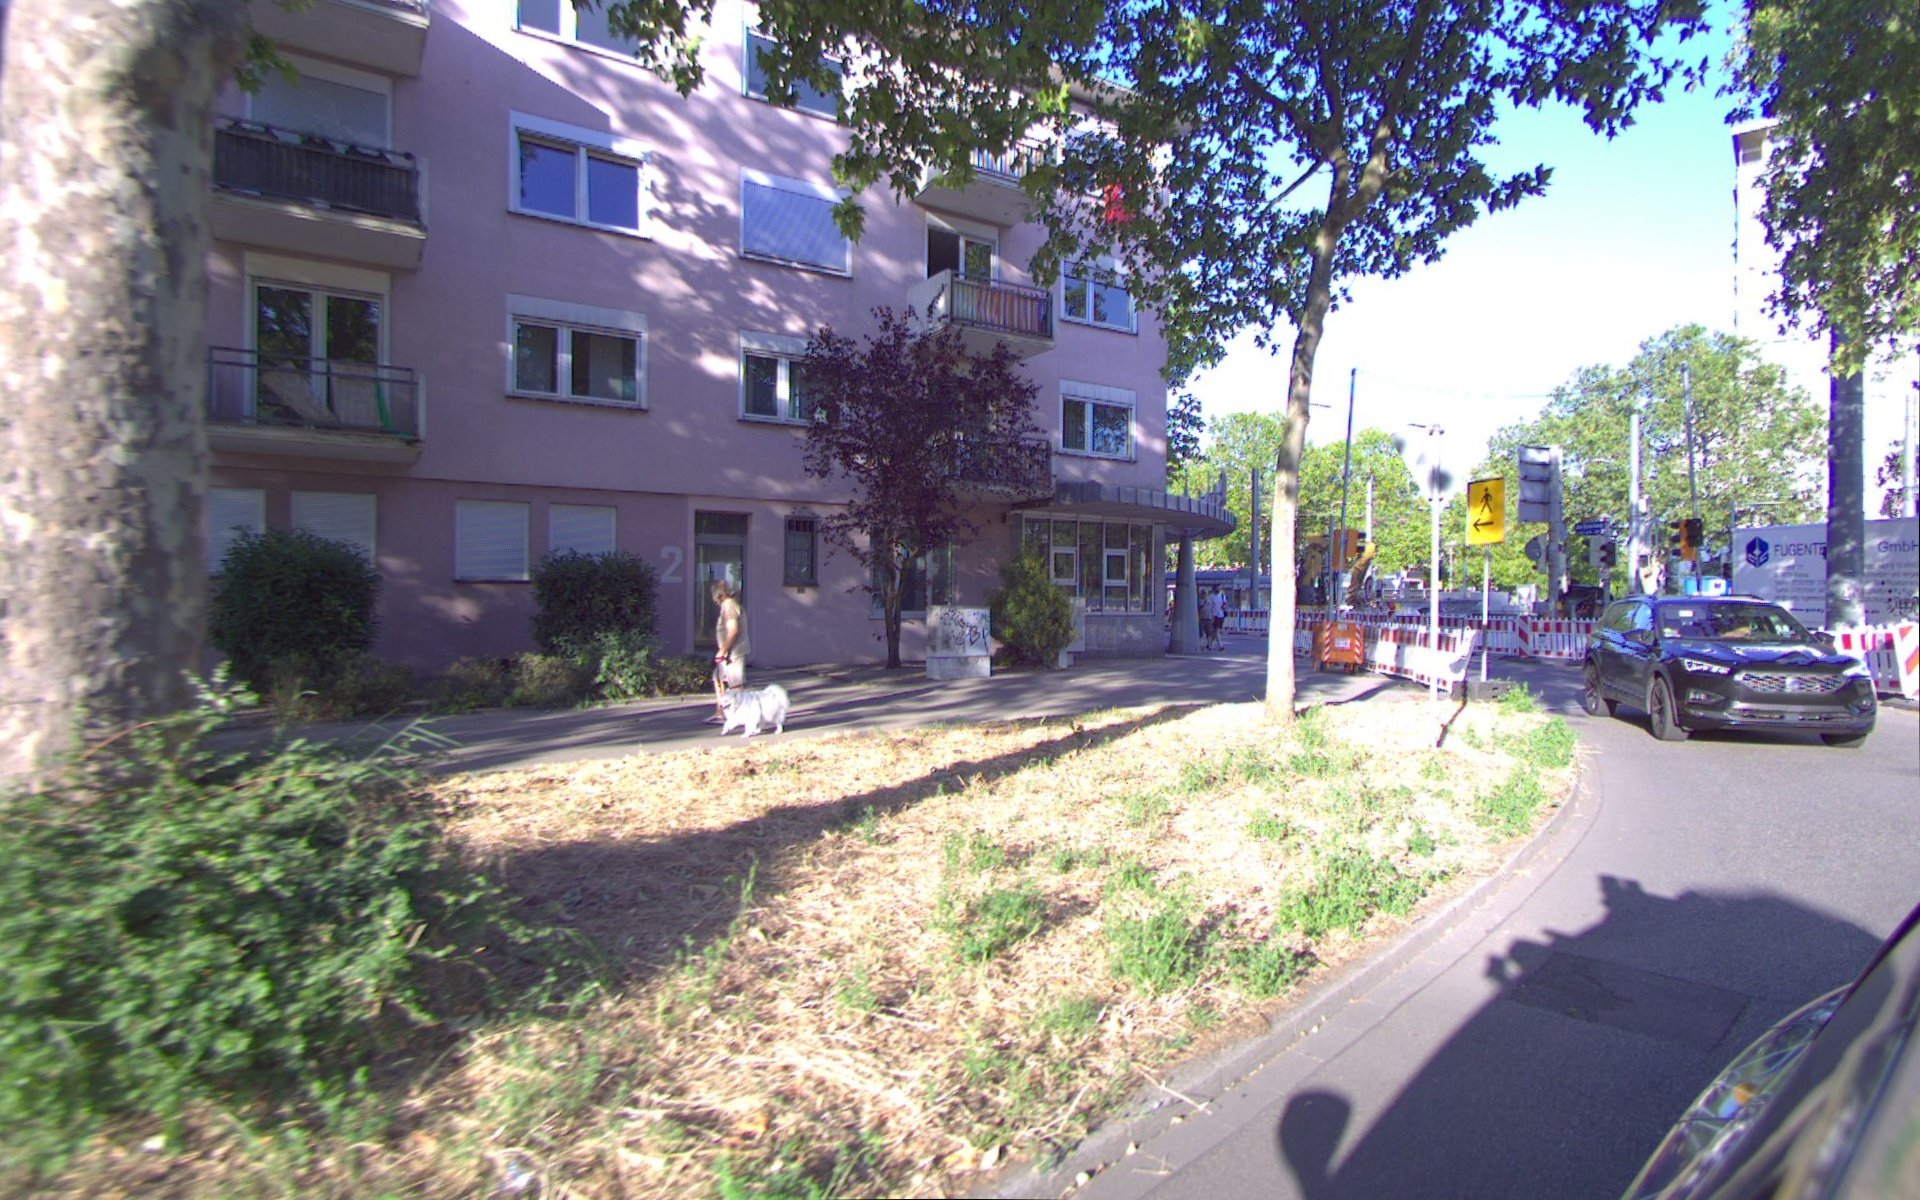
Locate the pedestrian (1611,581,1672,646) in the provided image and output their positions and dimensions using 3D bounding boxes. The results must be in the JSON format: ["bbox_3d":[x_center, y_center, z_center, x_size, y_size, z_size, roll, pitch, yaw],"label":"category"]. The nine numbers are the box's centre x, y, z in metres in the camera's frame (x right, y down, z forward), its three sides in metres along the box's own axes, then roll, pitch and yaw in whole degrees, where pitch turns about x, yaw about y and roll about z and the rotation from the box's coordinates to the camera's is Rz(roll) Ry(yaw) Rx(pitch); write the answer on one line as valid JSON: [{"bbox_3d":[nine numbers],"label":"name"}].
[{"bbox_3d":[19.551,0.370,29.056,0.955,1.821,1.071,0,0,-10],"label":"pedestrian"}]

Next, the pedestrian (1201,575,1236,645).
[{"bbox_3d":[7.363,0.271,28.886,0.828,1.893,1.095,4,0,14],"label":"pedestrian"}]

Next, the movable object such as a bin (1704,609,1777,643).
[{"bbox_3d":[22.585,0.739,29.303,0.916,0.928,1.422,0,0,-25],"label":"movable object such as a bin"}]

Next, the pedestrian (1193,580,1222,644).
[{"bbox_3d":[6.817,0.327,27.844,0.579,1.730,0.673,2,-2,26],"label":"pedestrian"}]

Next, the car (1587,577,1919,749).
[{"bbox_3d":[9.162,0.618,12.113,1.975,1.668,4.176,0,0,20],"label":"car"}]

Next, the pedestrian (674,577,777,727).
[{"bbox_3d":[-2.468,0.509,10.633,0.801,1.493,0.792,0,0,-36],"label":"pedestrian"}]

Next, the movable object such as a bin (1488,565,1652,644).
[{"bbox_3d":[19.328,0.116,32.423,1.962,2.285,5.208,-1,0,-1],"label":"movable object such as a bin"}]

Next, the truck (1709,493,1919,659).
[{"bbox_3d":[22.115,-0.527,23.349,2.767,3.586,8.986,0,0,-2],"label":"truck"}]

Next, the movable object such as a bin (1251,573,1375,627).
[{"bbox_3d":[16.465,-0.007,47.421,2.600,2.347,4.904,0,0,-33],"label":"movable object such as a bin"}]
